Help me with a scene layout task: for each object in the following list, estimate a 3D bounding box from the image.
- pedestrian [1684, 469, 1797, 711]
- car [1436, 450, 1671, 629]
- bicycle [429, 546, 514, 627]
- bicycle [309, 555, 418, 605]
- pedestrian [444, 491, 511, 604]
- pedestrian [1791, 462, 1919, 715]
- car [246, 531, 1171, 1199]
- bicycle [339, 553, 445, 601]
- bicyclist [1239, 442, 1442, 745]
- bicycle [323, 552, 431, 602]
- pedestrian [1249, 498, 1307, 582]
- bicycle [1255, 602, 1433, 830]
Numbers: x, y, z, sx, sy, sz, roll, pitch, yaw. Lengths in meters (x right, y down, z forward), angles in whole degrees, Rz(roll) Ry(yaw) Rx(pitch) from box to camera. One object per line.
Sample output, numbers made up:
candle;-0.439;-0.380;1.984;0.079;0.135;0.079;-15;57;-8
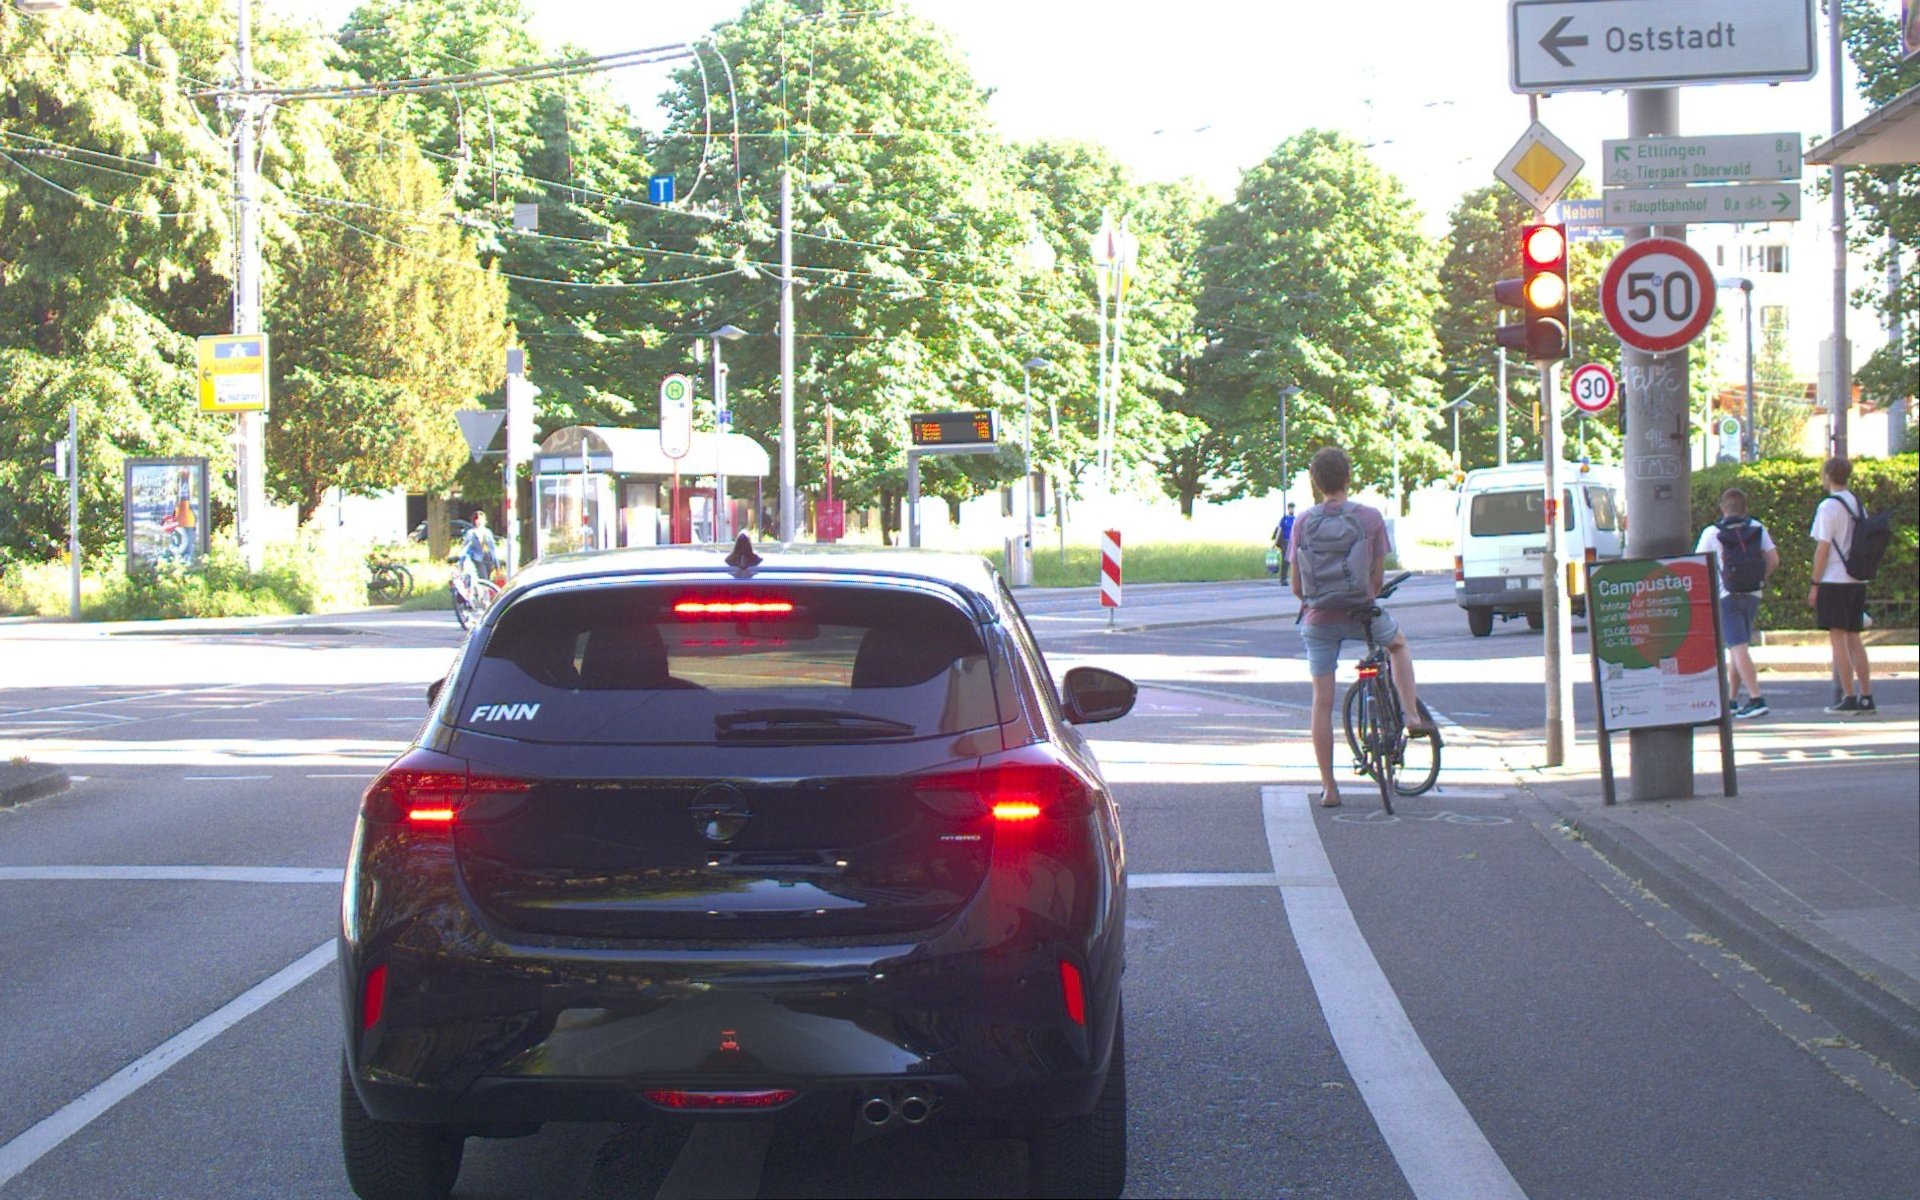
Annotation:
pedestrian;5.856;-0.080;25.808;0.698;1.786;0.617;-1;1;-1
car;7.996;-0.789;46.016;2.092;2.270;4.301;1;1;24
bicycle;-6.613;-0.190;46.628;0.825;1.056;1.883;0;1;2
bicycle;-11.073;-0.366;63.836;1.877;0.903;0.659;0;1;7
pedestrian;-7.289;-0.796;51.937;0.699;1.687;0.728;-2;2;-41
pedestrian;6.661;-0.094;25.548;0.704;1.840;0.699;0;2;39
car;-0.459;0.563;8.704;1.800;1.436;3.940;-1;1;1
bicycle;-10.850;-0.442;65.690;1.877;0.903;0.659;0;1;7
bicyclist;1.956;-0.052;17.838;0.840;1.504;1.369;0;1;-2
bicycle;-10.989;-0.435;64.820;1.877;0.903;0.659;0;1;7
pedestrian;6.833;-1.297;73.885;0.959;1.786;0.994;0;1;25
bicycle;1.963;0.566;17.818;0.667;1.056;2.082;0;1;-1
